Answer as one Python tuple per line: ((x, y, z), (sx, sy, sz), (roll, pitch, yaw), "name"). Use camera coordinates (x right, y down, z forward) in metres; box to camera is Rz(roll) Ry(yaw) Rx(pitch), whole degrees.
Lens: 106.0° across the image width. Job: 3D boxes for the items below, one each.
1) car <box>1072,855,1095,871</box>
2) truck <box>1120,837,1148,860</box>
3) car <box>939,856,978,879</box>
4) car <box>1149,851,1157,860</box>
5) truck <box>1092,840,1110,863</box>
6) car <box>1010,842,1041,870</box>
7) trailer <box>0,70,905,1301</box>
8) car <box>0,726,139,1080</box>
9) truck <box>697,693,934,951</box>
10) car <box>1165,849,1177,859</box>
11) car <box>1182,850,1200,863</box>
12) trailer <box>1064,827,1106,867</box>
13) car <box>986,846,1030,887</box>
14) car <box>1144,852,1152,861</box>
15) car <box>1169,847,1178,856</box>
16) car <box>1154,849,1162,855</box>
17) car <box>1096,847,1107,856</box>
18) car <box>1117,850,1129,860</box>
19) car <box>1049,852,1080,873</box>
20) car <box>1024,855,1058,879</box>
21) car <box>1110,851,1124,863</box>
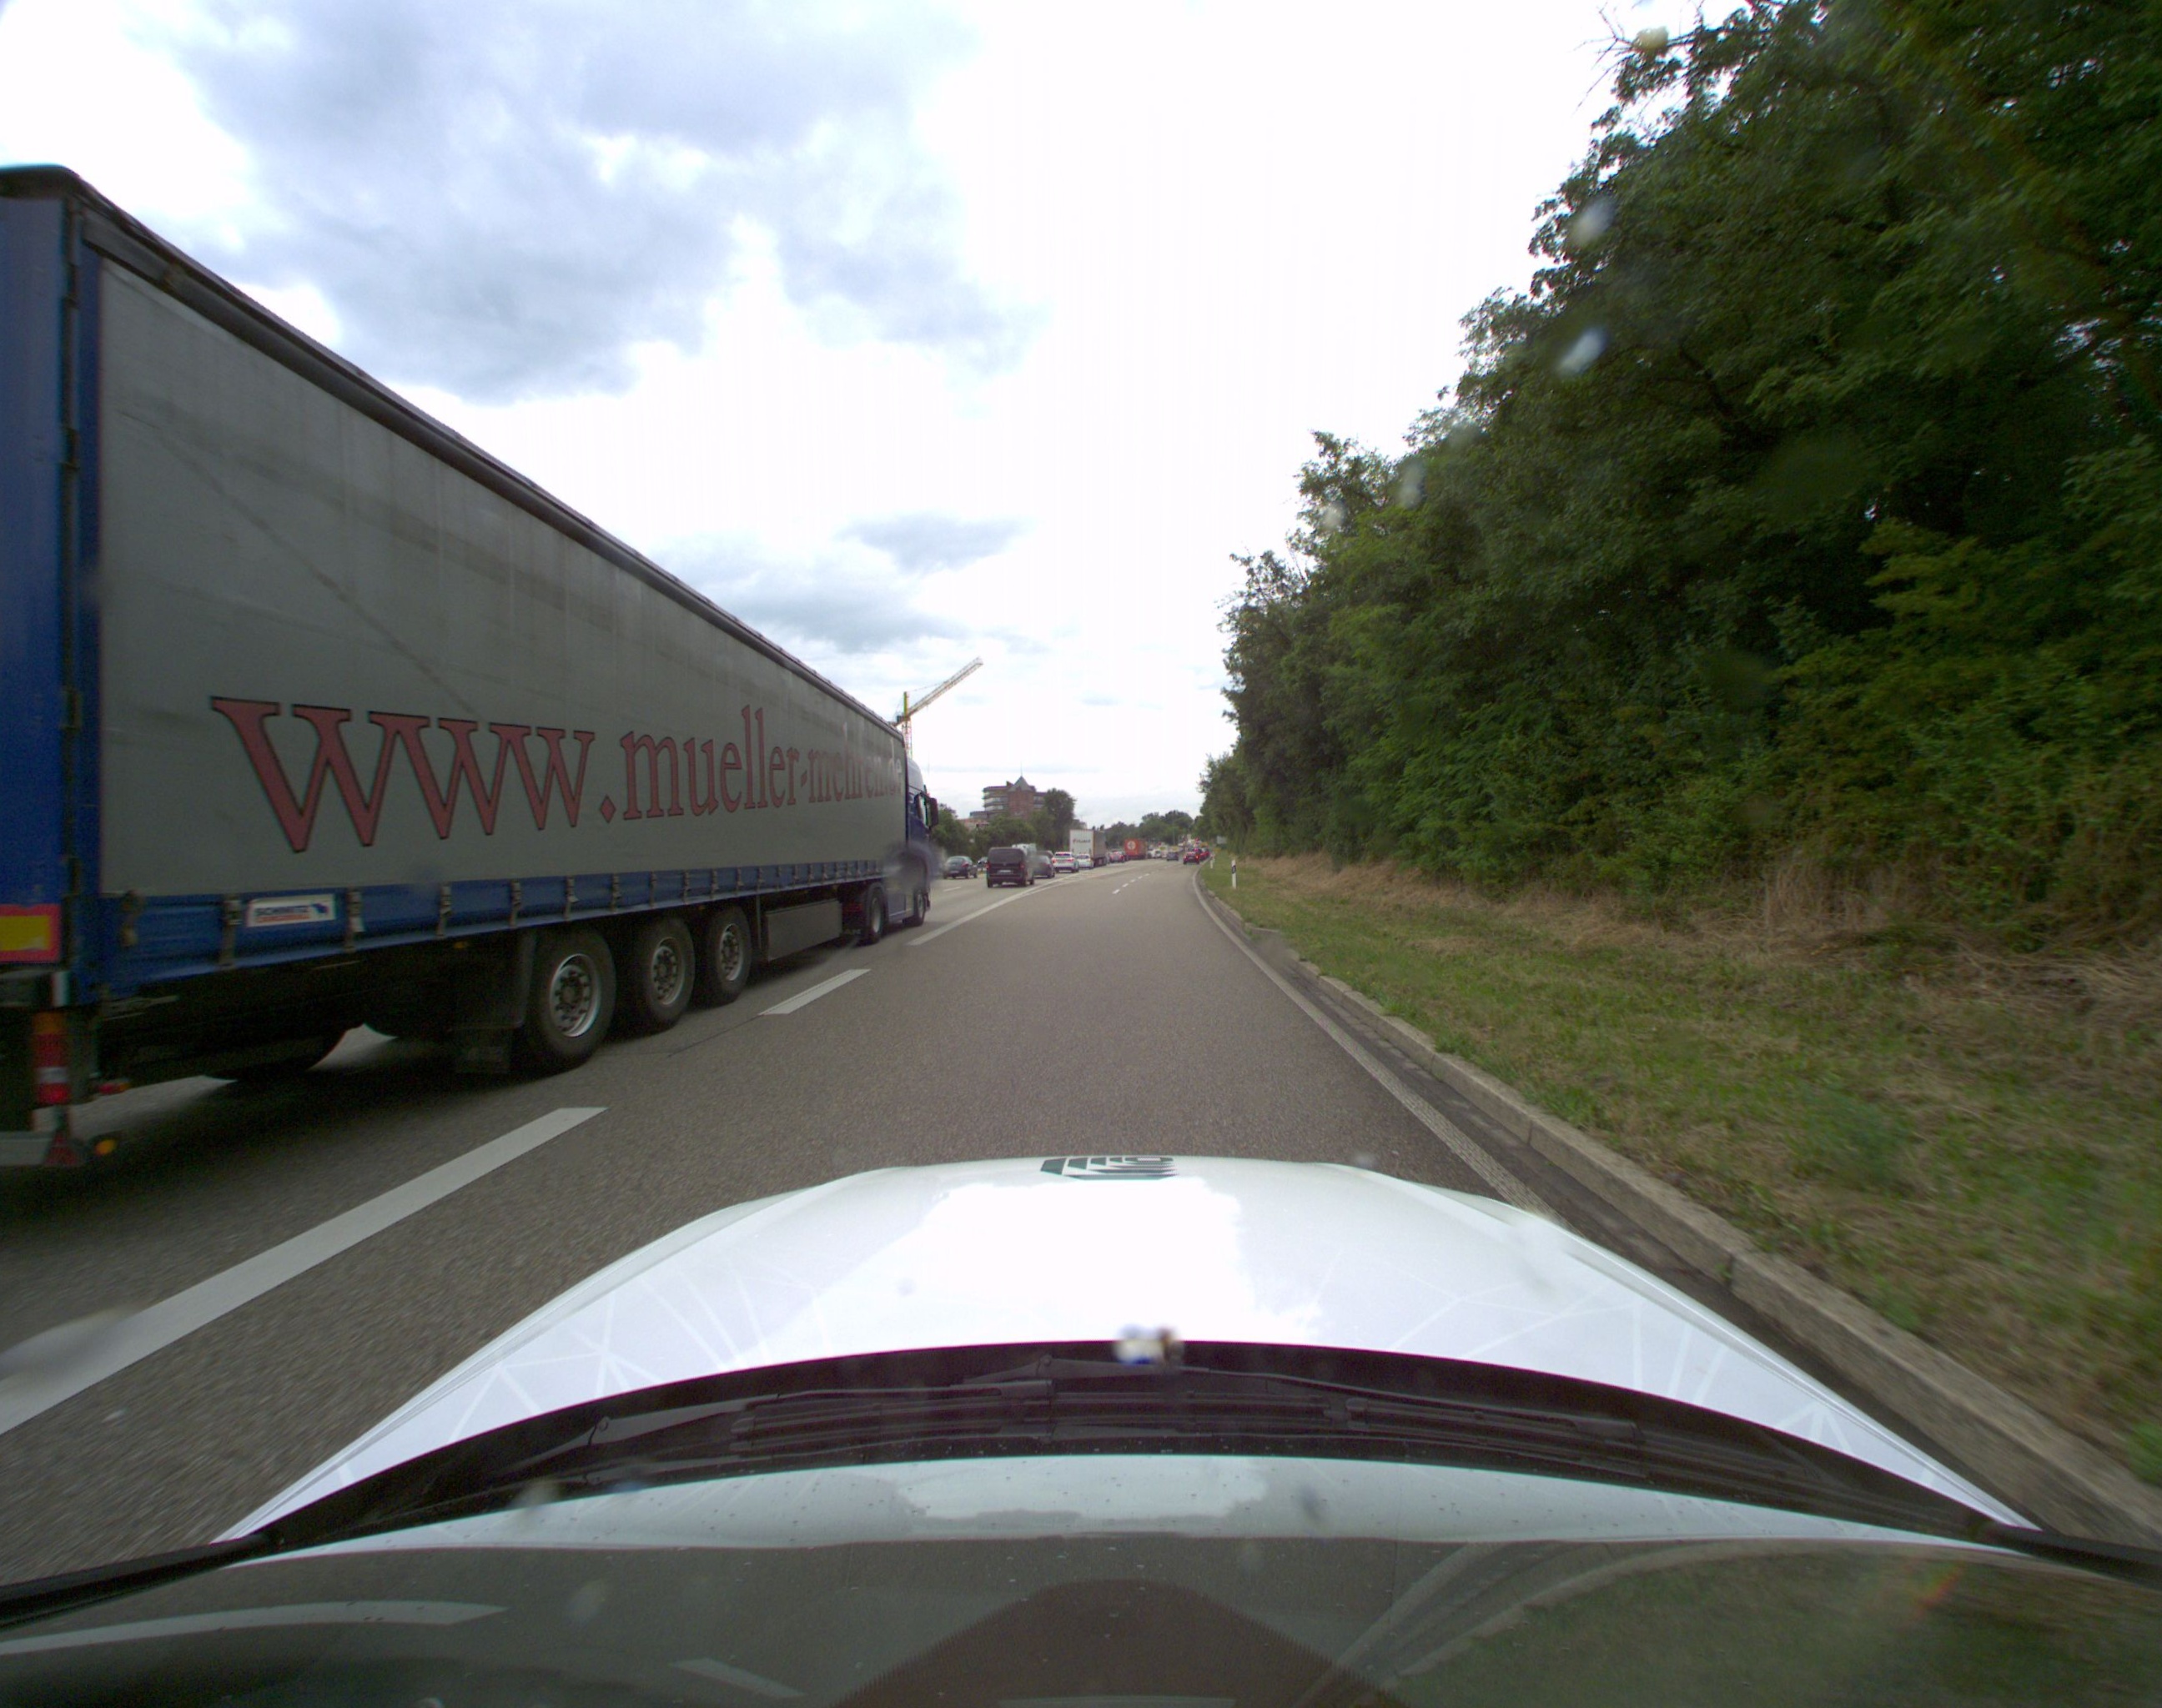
((0.271, 0.834, 77.412), (1.755, 1.478, 4.095), (1, 0, 6), "car")
((10.151, -1.126, 154.420), (3.468, 4.073, 13.631), (-2, 0, 10), "truck")
((-8.065, 0.865, 53.939), (1.667, 1.389, 4.004), (-1, 0, 3), "car")
((16.772, 0.409, 189.477), (1.605, 1.948, 3.714), (0, -1, 9), "car")
((3.744, -0.359, 151.112), (2.725, 4.138, 10.712), (0, -1, 5), "truck")
((-5.288, 0.204, 77.959), (1.983, 2.553, 5.372), (-2, 0, 6), "car")
((-4.776, -0.507, 9.354), (2.618, 4.023, 13.460), (0, -1, 0), "trailer")
((-8.981, 0.344, 3.376), (2.215, 2.578, 6.796), (0, -1, 0), "car")
((-4.761, -0.490, 16.079), (2.553, 4.042, 6.587), (0, -1, -1), "truck")
((14.111, 0.030, 128.325), (1.816, 1.482, 4.006), (-2, 0, 5), "car")
((13.180, 0.309, 97.428), (1.813, 1.482, 4.014), (-2, 0, 12), "car")
((0.638, -0.656, 89.105), (3.282, 4.036, 13.119), (0, -1, 6), "trailer")
((-3.515, 0.593, 40.068), (1.983, 1.898, 4.979), (-1, 0, -3), "car")
((14.715, 0.475, 178.275), (1.605, 1.948, 3.712), (0, -1, 7), "car")
((20.970, -0.616, 184.666), (1.941, 2.013, 4.008), (-1, 0, 7), "car")
((19.534, -0.537, 206.999), (1.769, 1.482, 4.006), (-2, 0, 5), "car")
((4.665, -0.606, 187.096), (1.982, 2.013, 4.010), (-2, 0, 9), "car")
((6.981, 0.180, 134.423), (1.708, 1.684, 4.008), (0, -1, 8), "car")
((-1.286, 0.677, 66.264), (1.946, 1.695, 4.874), (0, -1, 6), "car")
((-2.541, 0.810, 52.784), (1.840, 1.460, 4.833), (0, -1, 2), "car")
((5.203, 0.499, 117.851), (1.708, 1.684, 4.009), (0, -1, 8), "car")
